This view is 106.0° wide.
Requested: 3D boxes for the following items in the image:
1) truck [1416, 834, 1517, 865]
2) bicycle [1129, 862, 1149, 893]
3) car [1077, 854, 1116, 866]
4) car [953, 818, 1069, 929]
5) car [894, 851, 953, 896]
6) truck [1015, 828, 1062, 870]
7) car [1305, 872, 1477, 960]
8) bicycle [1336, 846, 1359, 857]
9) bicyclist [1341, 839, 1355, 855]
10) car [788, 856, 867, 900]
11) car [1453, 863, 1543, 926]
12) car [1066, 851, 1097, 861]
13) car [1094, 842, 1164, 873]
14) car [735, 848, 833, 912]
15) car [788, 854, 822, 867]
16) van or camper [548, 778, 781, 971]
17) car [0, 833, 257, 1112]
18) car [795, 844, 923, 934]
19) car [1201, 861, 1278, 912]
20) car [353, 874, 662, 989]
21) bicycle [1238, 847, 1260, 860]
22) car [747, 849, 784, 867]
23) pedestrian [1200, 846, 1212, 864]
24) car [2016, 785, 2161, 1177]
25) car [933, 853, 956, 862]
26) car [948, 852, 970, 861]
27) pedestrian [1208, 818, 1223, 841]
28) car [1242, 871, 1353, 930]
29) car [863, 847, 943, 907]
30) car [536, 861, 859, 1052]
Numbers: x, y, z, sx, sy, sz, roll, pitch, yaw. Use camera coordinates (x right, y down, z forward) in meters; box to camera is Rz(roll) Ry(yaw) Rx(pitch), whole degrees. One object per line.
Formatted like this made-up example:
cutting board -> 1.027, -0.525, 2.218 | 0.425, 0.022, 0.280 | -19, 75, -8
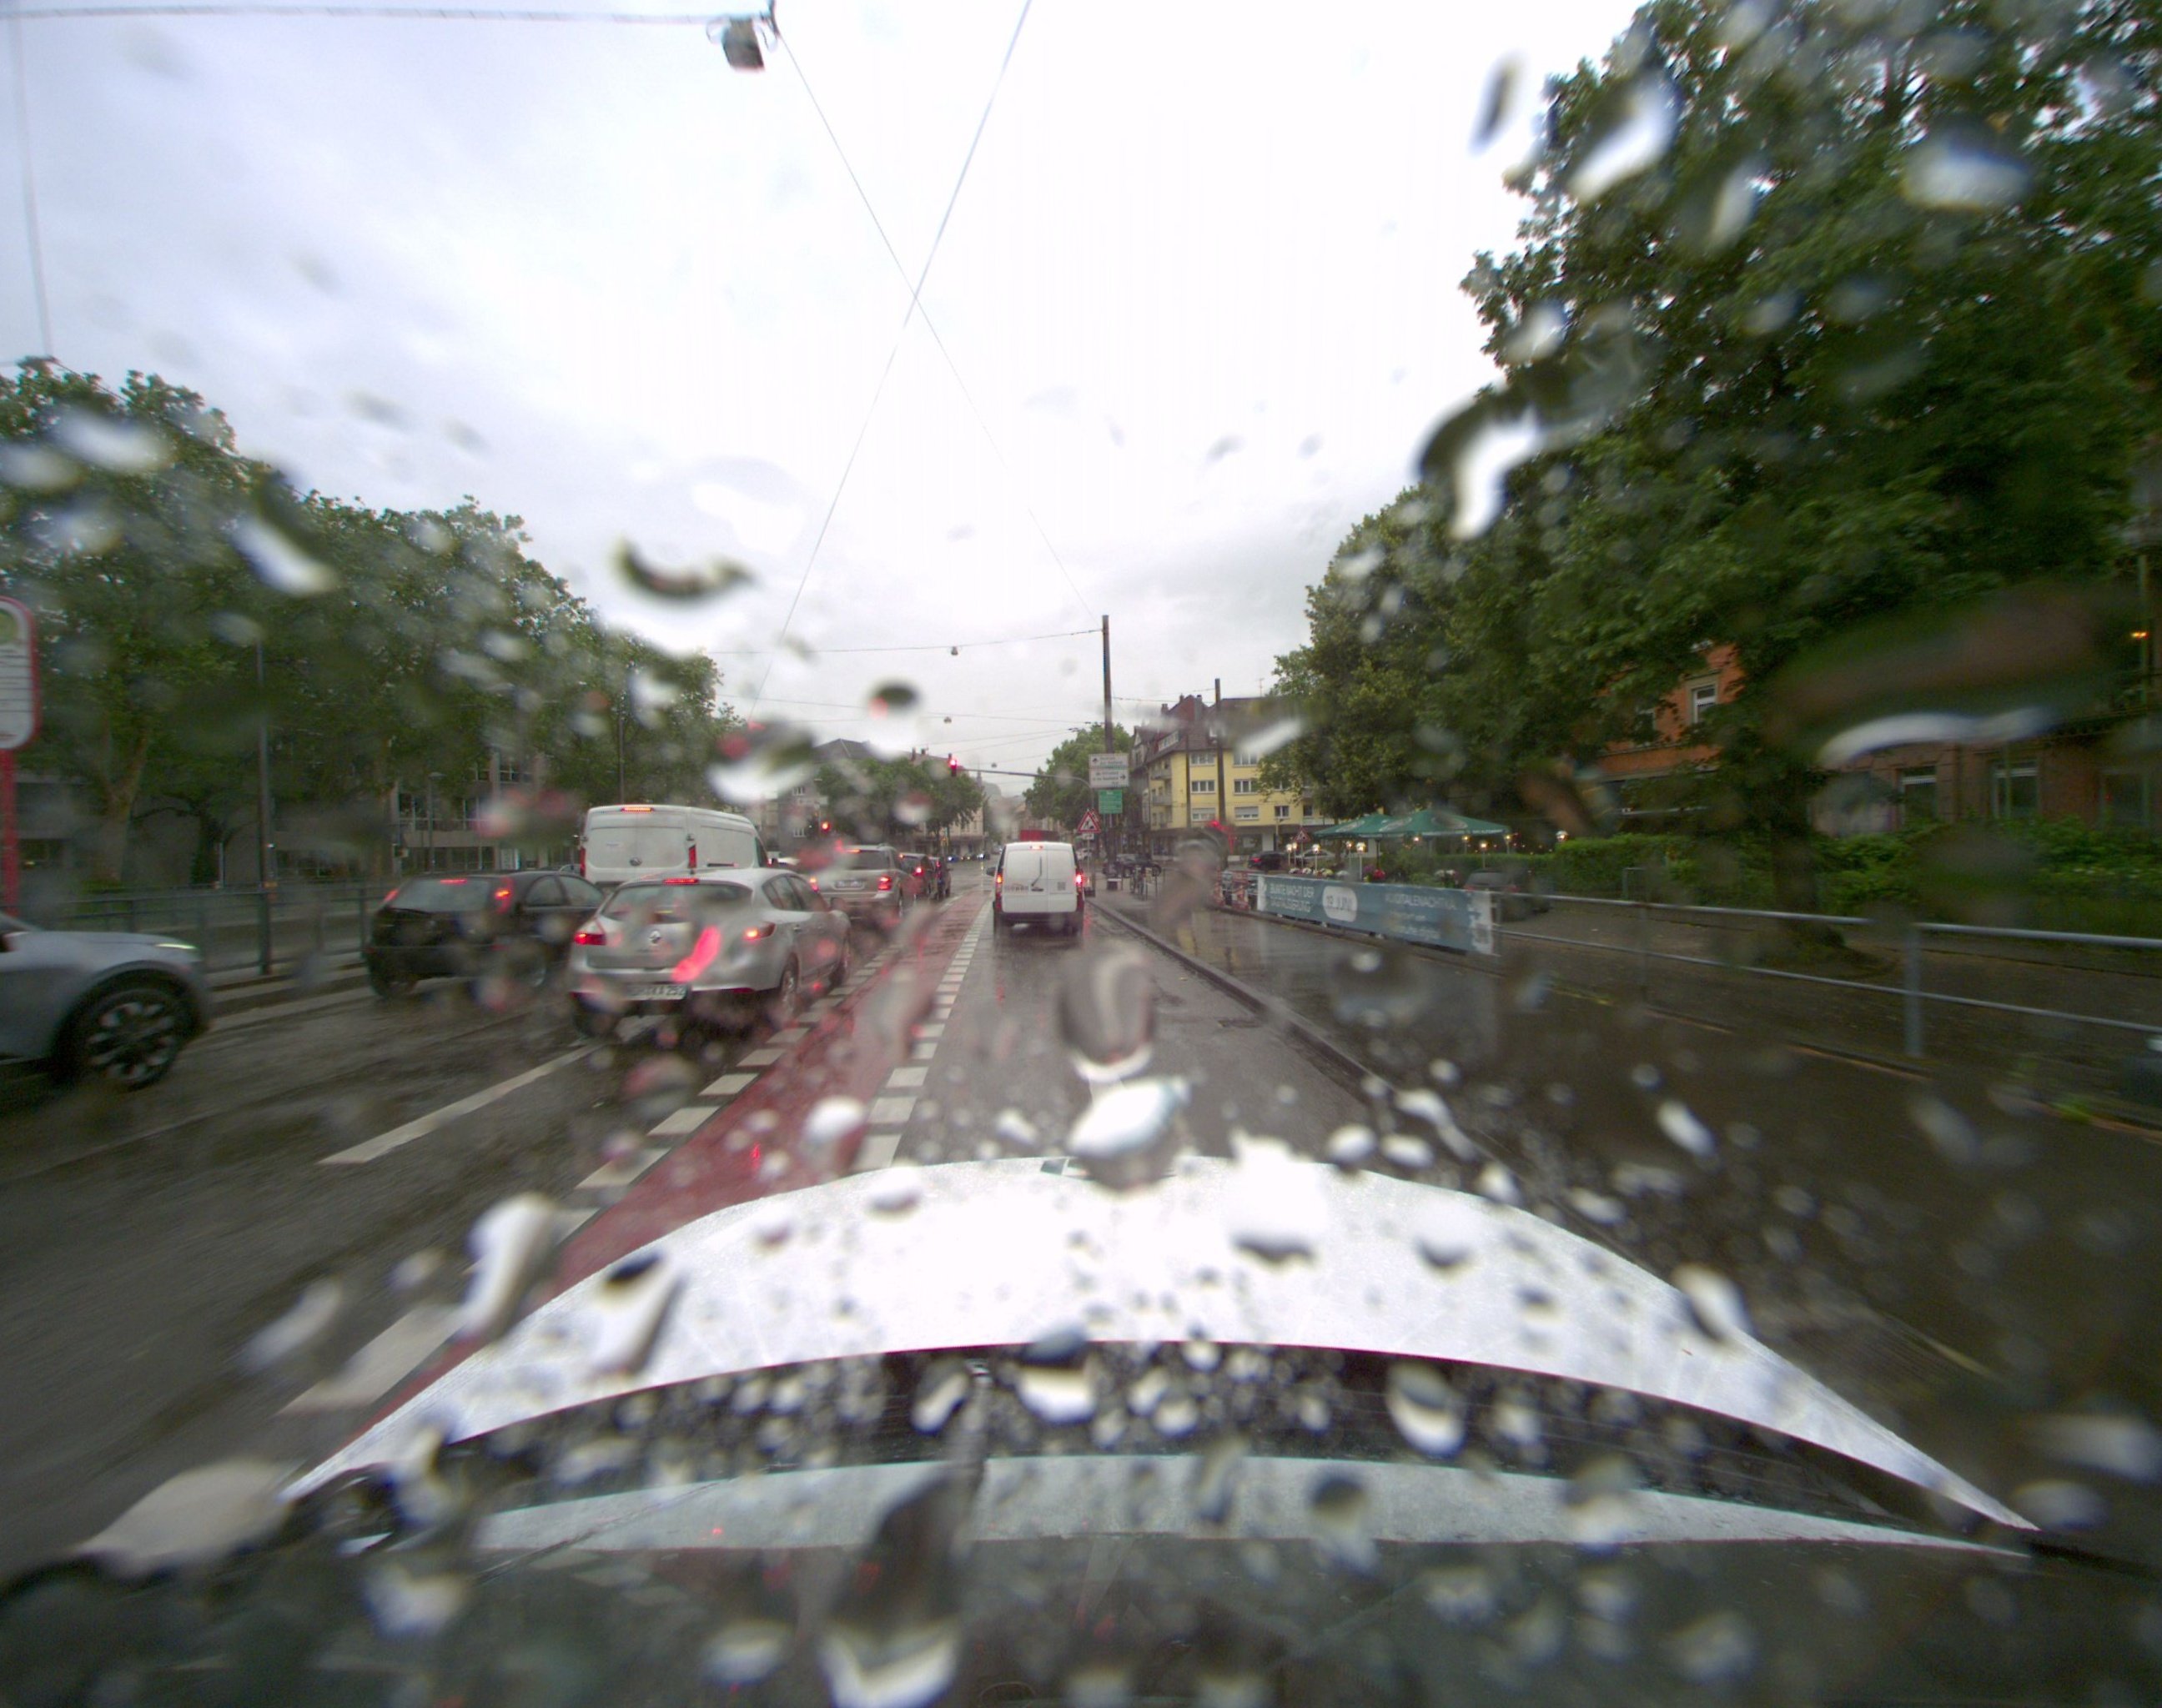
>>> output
truck -> 25.544, -0.301, 54.074 | 5.727, 2.014, 2.112 | 0, 0, 0
bicycle -> 2.223, 0.904, 31.347 | 0.513, 1.107, 2.014 | 2, 0, -3
car -> 1.762, 0.678, 93.412 | 4.169, 1.339, 1.514 | -1, 1, -12
car -> -1.461, 0.363, 17.354 | 2.097, 2.012, 4.955 | 0, 0, -5
car -> -5.802, 0.689, 30.380 | 1.724, 1.578, 3.814 | 0, 0, -5
truck -> -5.286, -0.566, 104.627 | 3.451, 5.087, 15.335 | 0, 0, 7
car -> 6.304, 1.191, 17.092 | 1.730, 1.539, 4.066 | 1, 0, -6
bicycle -> 25.473, -0.207, 77.716 | 2.006, 1.027, 0.661 | 0, 0, 7
bicyclist -> 25.488, -0.681, 77.729 | 1.060, 1.547, 0.938 | 0, 0, 7
car -> -9.092, 0.831, 29.581 | 1.840, 1.484, 3.994 | 0, 0, -4
car -> 12.771, 1.160, 24.822 | 1.974, 1.713, 4.025 | 0, 0, 34
car -> 0.058, 0.283, 95.185 | 3.445, 1.130, 1.465 | 0, 0, -13
car -> 3.048, 0.213, 51.673 | 4.004, 1.866, 1.985 | 0, 0, -23
car -> -8.381, 0.685, 23.320 | 1.642, 1.629, 3.830 | -1, 0, -5
car -> -36.431, 0.851, 107.552 | 1.976, 1.530, 4.022 | 0, 1, 22
van or camper -> -7.951, 0.329, 16.394 | 2.156, 3.141, 5.839 | -1, 0, -6
car -> -7.199, 0.709, 4.039 | 1.911, 1.624, 4.446 | -1, 0, -5
car -> -4.804, 0.689, 18.305 | 2.022, 1.770, 4.453 | 0, 0, -6
car -> 5.286, 1.048, 27.578 | 1.701, 1.442, 3.522 | 3, 1, -3
car -> -7.108, 0.867, 10.667 | 1.461, 1.117, 4.079 | 0, 0, -6
bicycle -> 16.733, -0.039, 81.003 | 2.088, 1.261, 0.533 | 0, 1, 9
car -> -41.899, 0.463, 108.254 | 1.977, 2.198, 4.811 | 1, 2, 19
pedestrian -> 10.436, 0.065, 68.147 | 0.821, 1.534, 0.615 | 1, -1, -43
car -> 8.054, 0.798, 2.843 | 2.206, 2.420, 6.144 | 1, 0, -7
car -> -19.744, 0.537, 117.693 | 1.937, 1.239, 4.014 | 0, 1, 12
car -> -18.476, 0.364, 123.067 | 1.937, 1.239, 4.014 | 0, 1, 12
pedestrian -> 9.941, -1.778, 60.213 | 0.896, 1.669, 1.026 | 0, 0, 25
car -> 5.719, 1.183, 22.042 | 1.700, 1.400, 3.966 | 0, 0, -5
car -> -5.325, 0.647, 24.839 | 1.831, 1.668, 4.166 | 0, 0, -5
car -> -3.580, 0.819, 8.481 | 1.765, 1.477, 3.993 | 0, 0, -6
